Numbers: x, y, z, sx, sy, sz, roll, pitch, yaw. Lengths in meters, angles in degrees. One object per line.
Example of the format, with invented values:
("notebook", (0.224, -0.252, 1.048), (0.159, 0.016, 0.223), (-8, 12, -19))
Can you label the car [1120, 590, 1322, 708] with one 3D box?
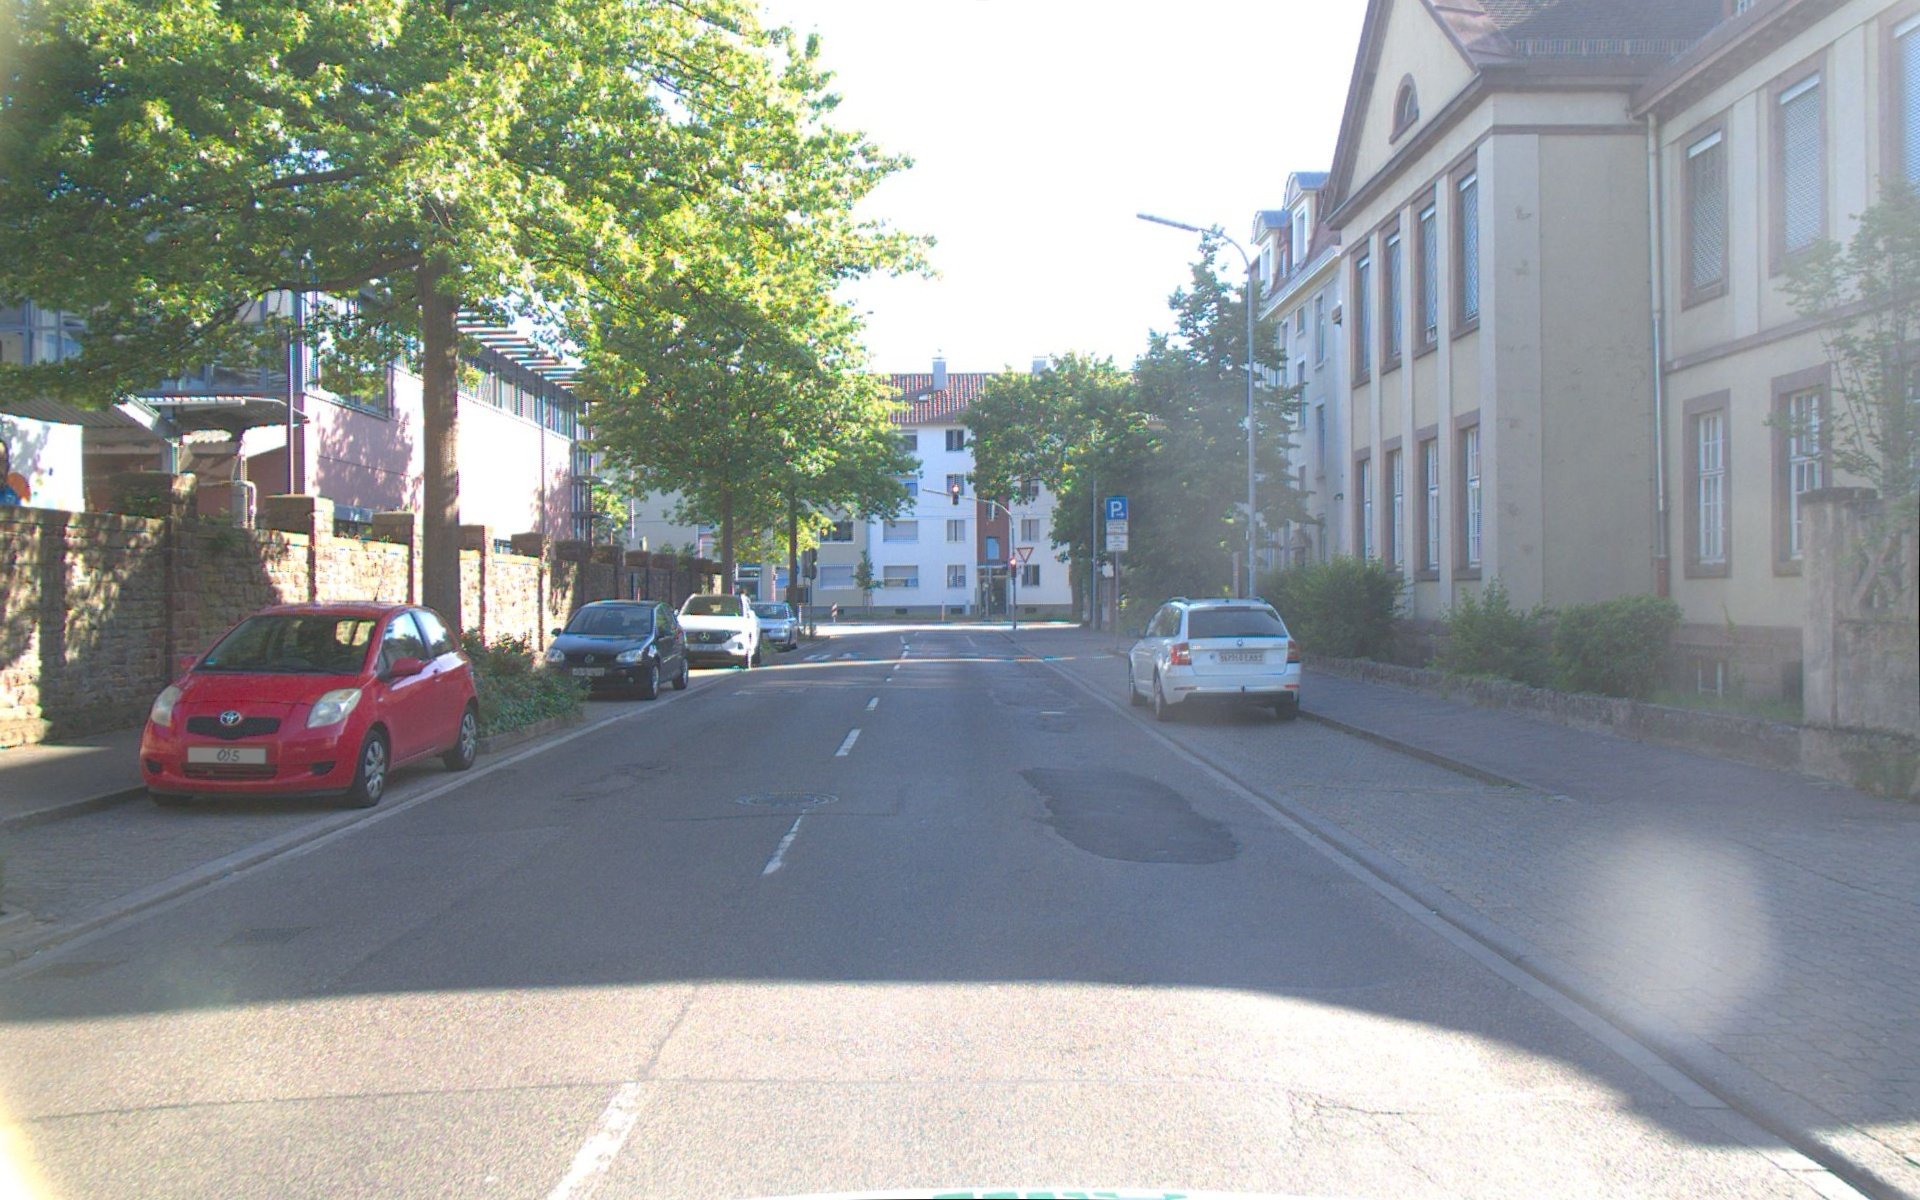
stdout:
("car", (3.250, 0.568, 21.441), (1.795, 1.346, 4.495), (-1, 0, -2))

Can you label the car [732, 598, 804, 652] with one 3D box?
("car", (-5.697, 0.706, 49.523), (1.691, 1.501, 4.477), (2, 0, -1))

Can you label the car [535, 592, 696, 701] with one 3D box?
("car", (-5.478, 0.688, 26.771), (1.701, 1.620, 4.107), (0, 0, 0))

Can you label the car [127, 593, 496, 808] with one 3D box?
("car", (-5.151, 0.716, 13.673), (1.576, 1.484, 3.708), (2, 0, -1))

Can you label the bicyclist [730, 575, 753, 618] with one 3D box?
("bicyclist", (-9.248, -0.135, 69.934), (0.782, 1.788, 0.603), (1, 0, -42))

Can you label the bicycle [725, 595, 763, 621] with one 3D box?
("bicycle", (-9.143, 0.349, 70.030), (1.675, 1.099, 0.346), (1, 0, -43))

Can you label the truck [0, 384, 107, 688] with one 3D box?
("truck", (-13.286, -0.830, 19.435), (2.677, 3.776, 7.426), (2, 0, -1))

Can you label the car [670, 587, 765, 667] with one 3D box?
("car", (-5.437, 0.564, 37.498), (1.685, 1.713, 4.349), (0, 0, -2))
